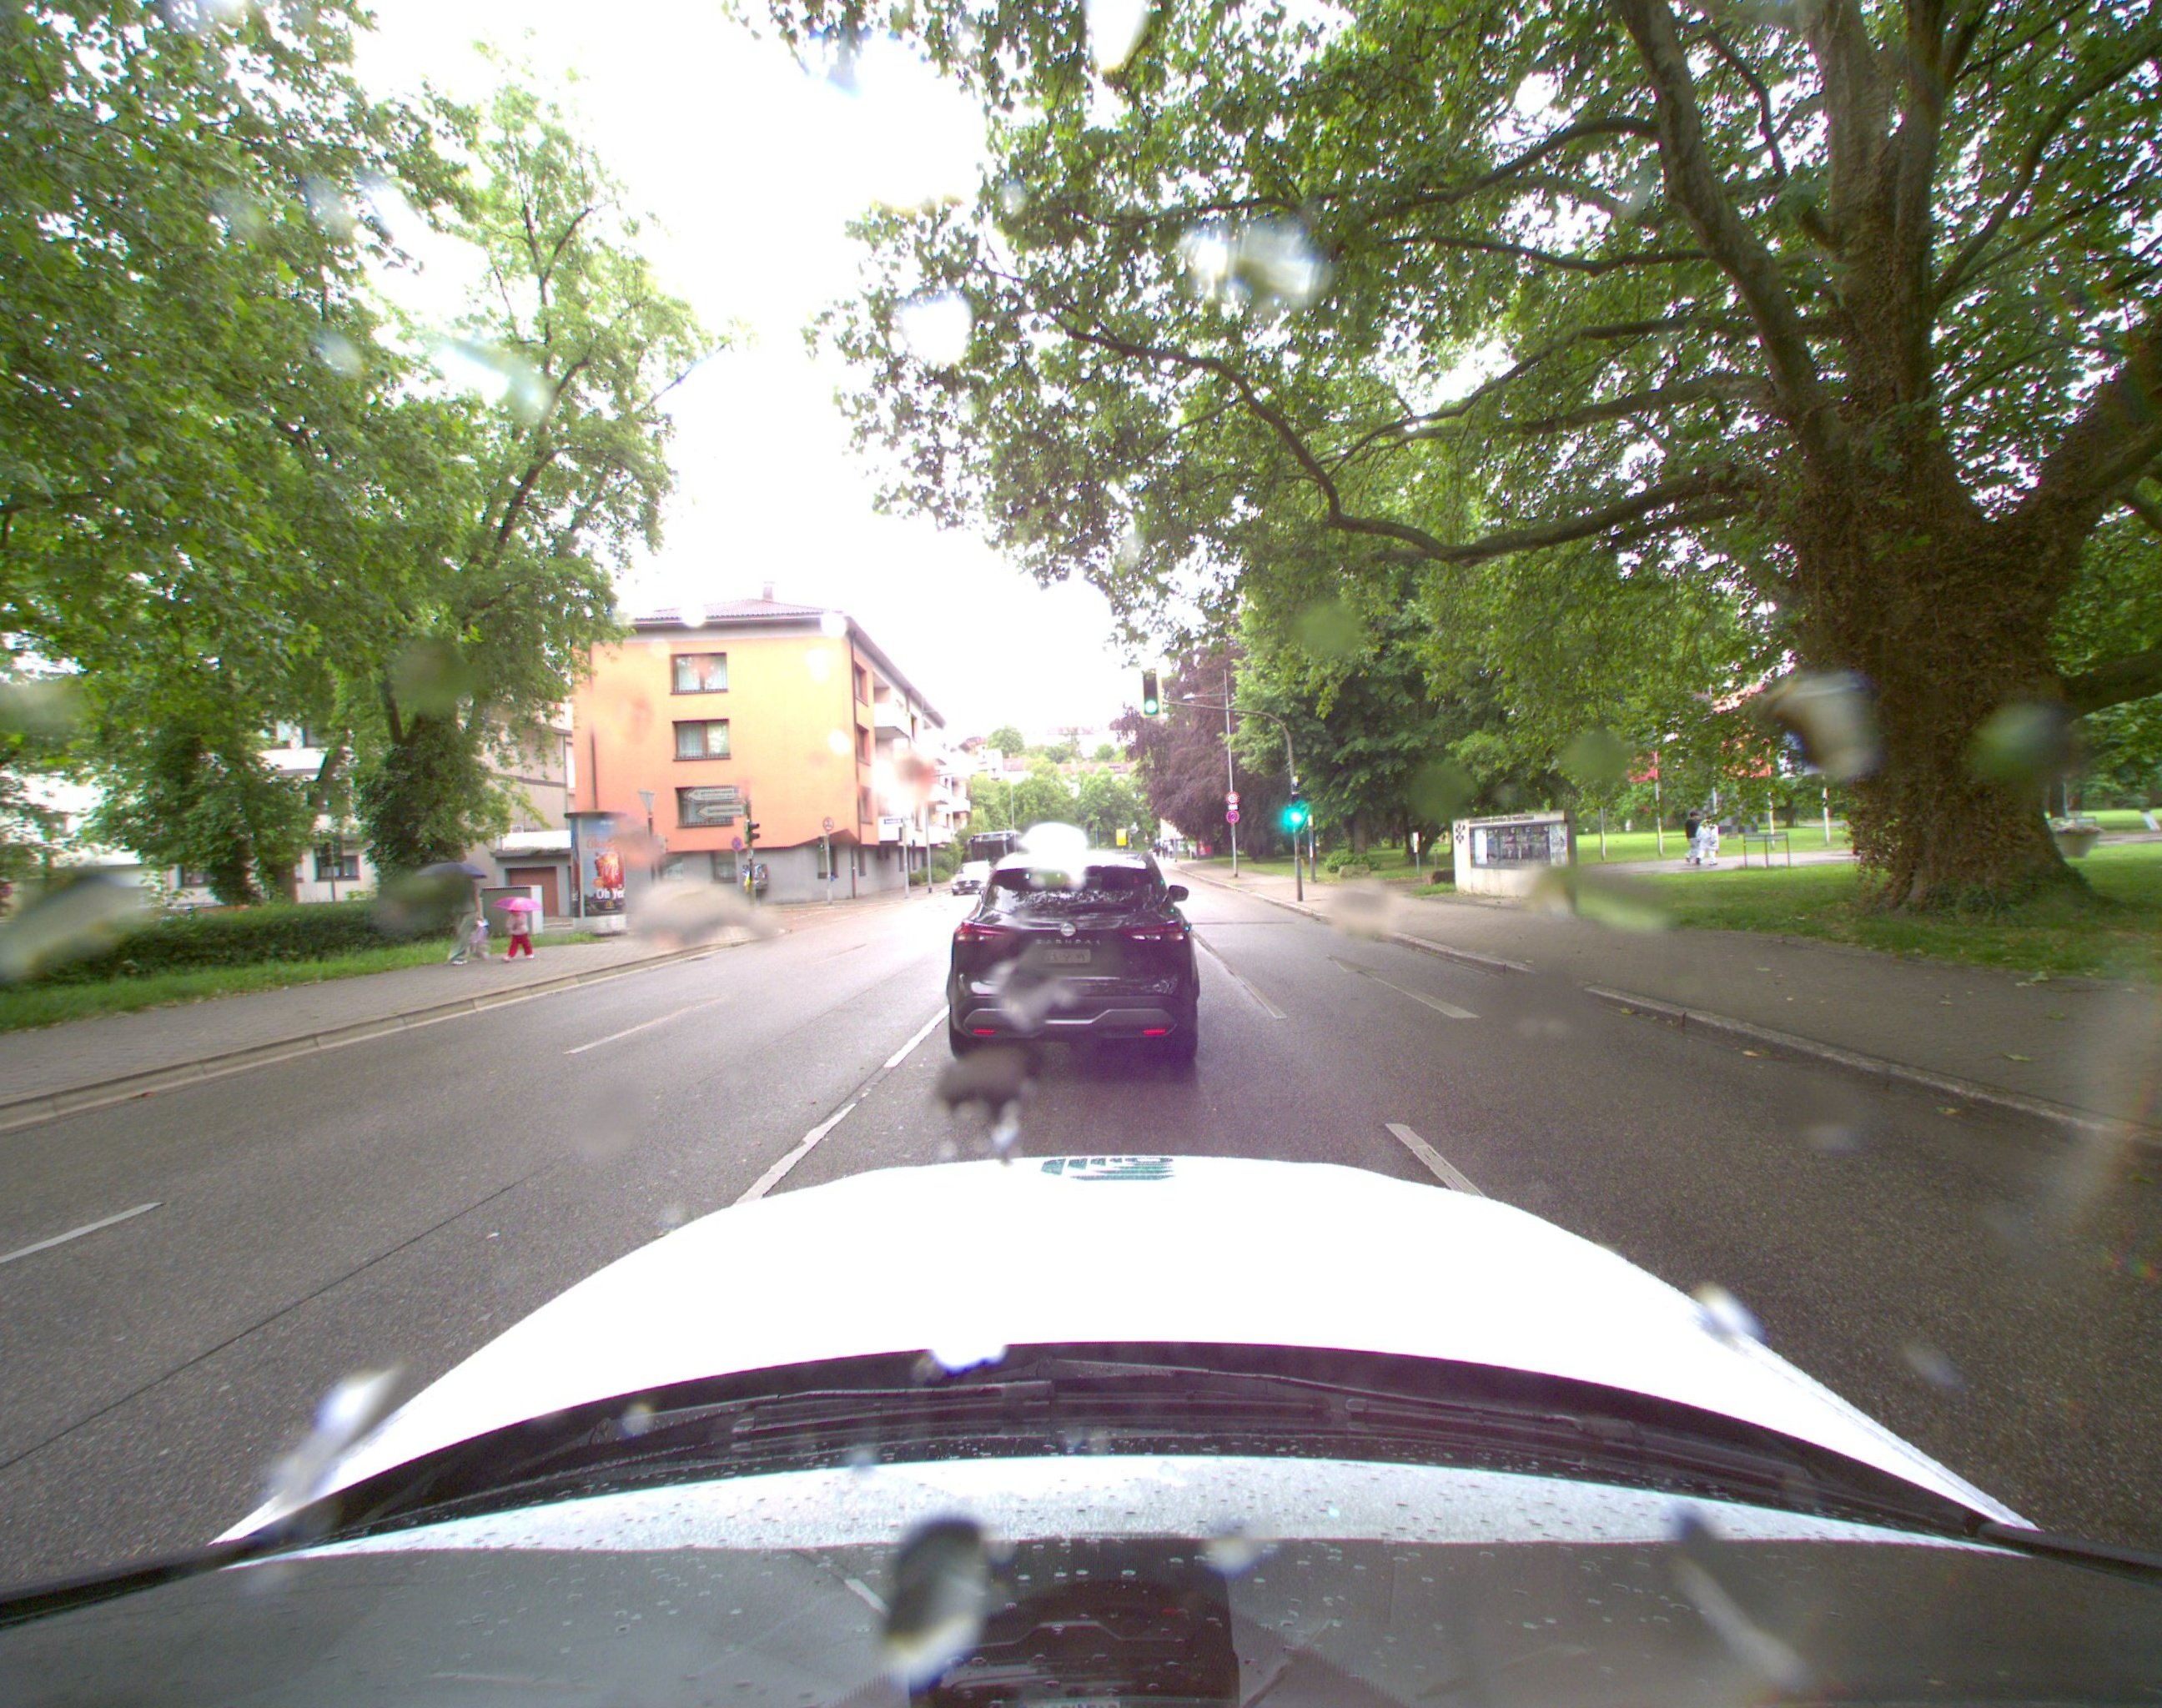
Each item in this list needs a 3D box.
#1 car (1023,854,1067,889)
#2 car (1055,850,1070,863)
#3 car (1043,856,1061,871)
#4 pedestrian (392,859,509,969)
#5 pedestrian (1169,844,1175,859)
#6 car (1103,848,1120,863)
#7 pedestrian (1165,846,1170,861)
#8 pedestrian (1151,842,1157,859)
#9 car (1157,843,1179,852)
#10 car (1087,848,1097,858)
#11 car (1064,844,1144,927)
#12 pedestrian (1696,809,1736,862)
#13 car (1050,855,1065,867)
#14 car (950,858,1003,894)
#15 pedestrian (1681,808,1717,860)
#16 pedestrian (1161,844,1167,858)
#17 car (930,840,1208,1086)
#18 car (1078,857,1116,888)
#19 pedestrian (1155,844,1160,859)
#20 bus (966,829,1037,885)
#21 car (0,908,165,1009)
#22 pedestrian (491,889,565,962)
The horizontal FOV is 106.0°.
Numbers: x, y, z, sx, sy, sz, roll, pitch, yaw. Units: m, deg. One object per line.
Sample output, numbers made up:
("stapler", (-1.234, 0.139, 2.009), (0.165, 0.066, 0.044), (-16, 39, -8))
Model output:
("car", (-1.589, 0.738, 36.715), (1.618, 1.415, 3.456), (-3, 0, 2))
("car", (-2.483, 0.314, 112.161), (1.743, 1.633, 3.636), (-3, 0, 2))
("car", (-3.112, 1.022, 88.586), (1.671, 1.469, 4.217), (-4, 0, 1))
("pedestrian", (-10.499, 0.956, 13.620), (0.988, 1.742, 1.210), (-1, 0, 1))
("pedestrian", (11.080, -0.346, 99.442), (0.616, 1.779, 0.779), (-3, 0, 1))
("car", (3.159, 0.186, 83.272), (1.618, 1.415, 3.456), (-3, 0, 2))
("pedestrian", (9.982, -0.070, 93.740), (0.513, 1.655, 0.550), (0, -1, 1))
("pedestrian", (9.541, -0.492, 106.227), (0.764, 2.183, 0.712), (0, -1, 5))
("car", (17.480, -1.297, 164.227), (3.986, 1.684, 1.994), (-3, 0, -9))
("car", (2.049, -0.236, 152.829), (1.757, 1.758, 3.636), (-3, 0, 2))
("car", (0.608, 0.671, 19.360), (1.615, 1.709, 3.774), (-3, 0, 3))
("pedestrian", (20.831, -0.589, 26.738), (0.663, 1.712, 0.788), (0, -1, -7))
("car", (-2.864, 0.873, 100.051), (1.671, 1.296, 3.752), (-4, 0, 1))
("car", (-4.859, 0.976, 38.266), (1.802, 1.417, 4.031), (-4, 0, 1))
("pedestrian", (21.067, -0.665, 27.769), (0.663, 1.756, 0.722), (0, -1, -7))
("pedestrian", (9.743, -0.303, 95.339), (0.696, 1.651, 0.628), (0, -1, 2))
("car", (-0.016, 0.723, 7.294), (1.799, 1.590, 4.001), (0, -1, 2))
("car", (0.787, 0.916, 41.153), (1.802, 1.417, 4.031), (-2, 0, 1))
("pedestrian", (8.953, -0.297, 95.349), (0.542, 1.651, 0.490), (0, -1, 2))
("bus", (-4.733, 0.190, 51.096), (2.756, 2.974, 11.786), (-3, 0, 2))
("car", (-18.007, 1.738, 13.807), (3.182, 1.524, 1.507), (0, -1, -1))
("pedestrian", (-9.541, 1.214, 14.075), (0.681, 1.175, 0.827), (-1, 0, 1))
